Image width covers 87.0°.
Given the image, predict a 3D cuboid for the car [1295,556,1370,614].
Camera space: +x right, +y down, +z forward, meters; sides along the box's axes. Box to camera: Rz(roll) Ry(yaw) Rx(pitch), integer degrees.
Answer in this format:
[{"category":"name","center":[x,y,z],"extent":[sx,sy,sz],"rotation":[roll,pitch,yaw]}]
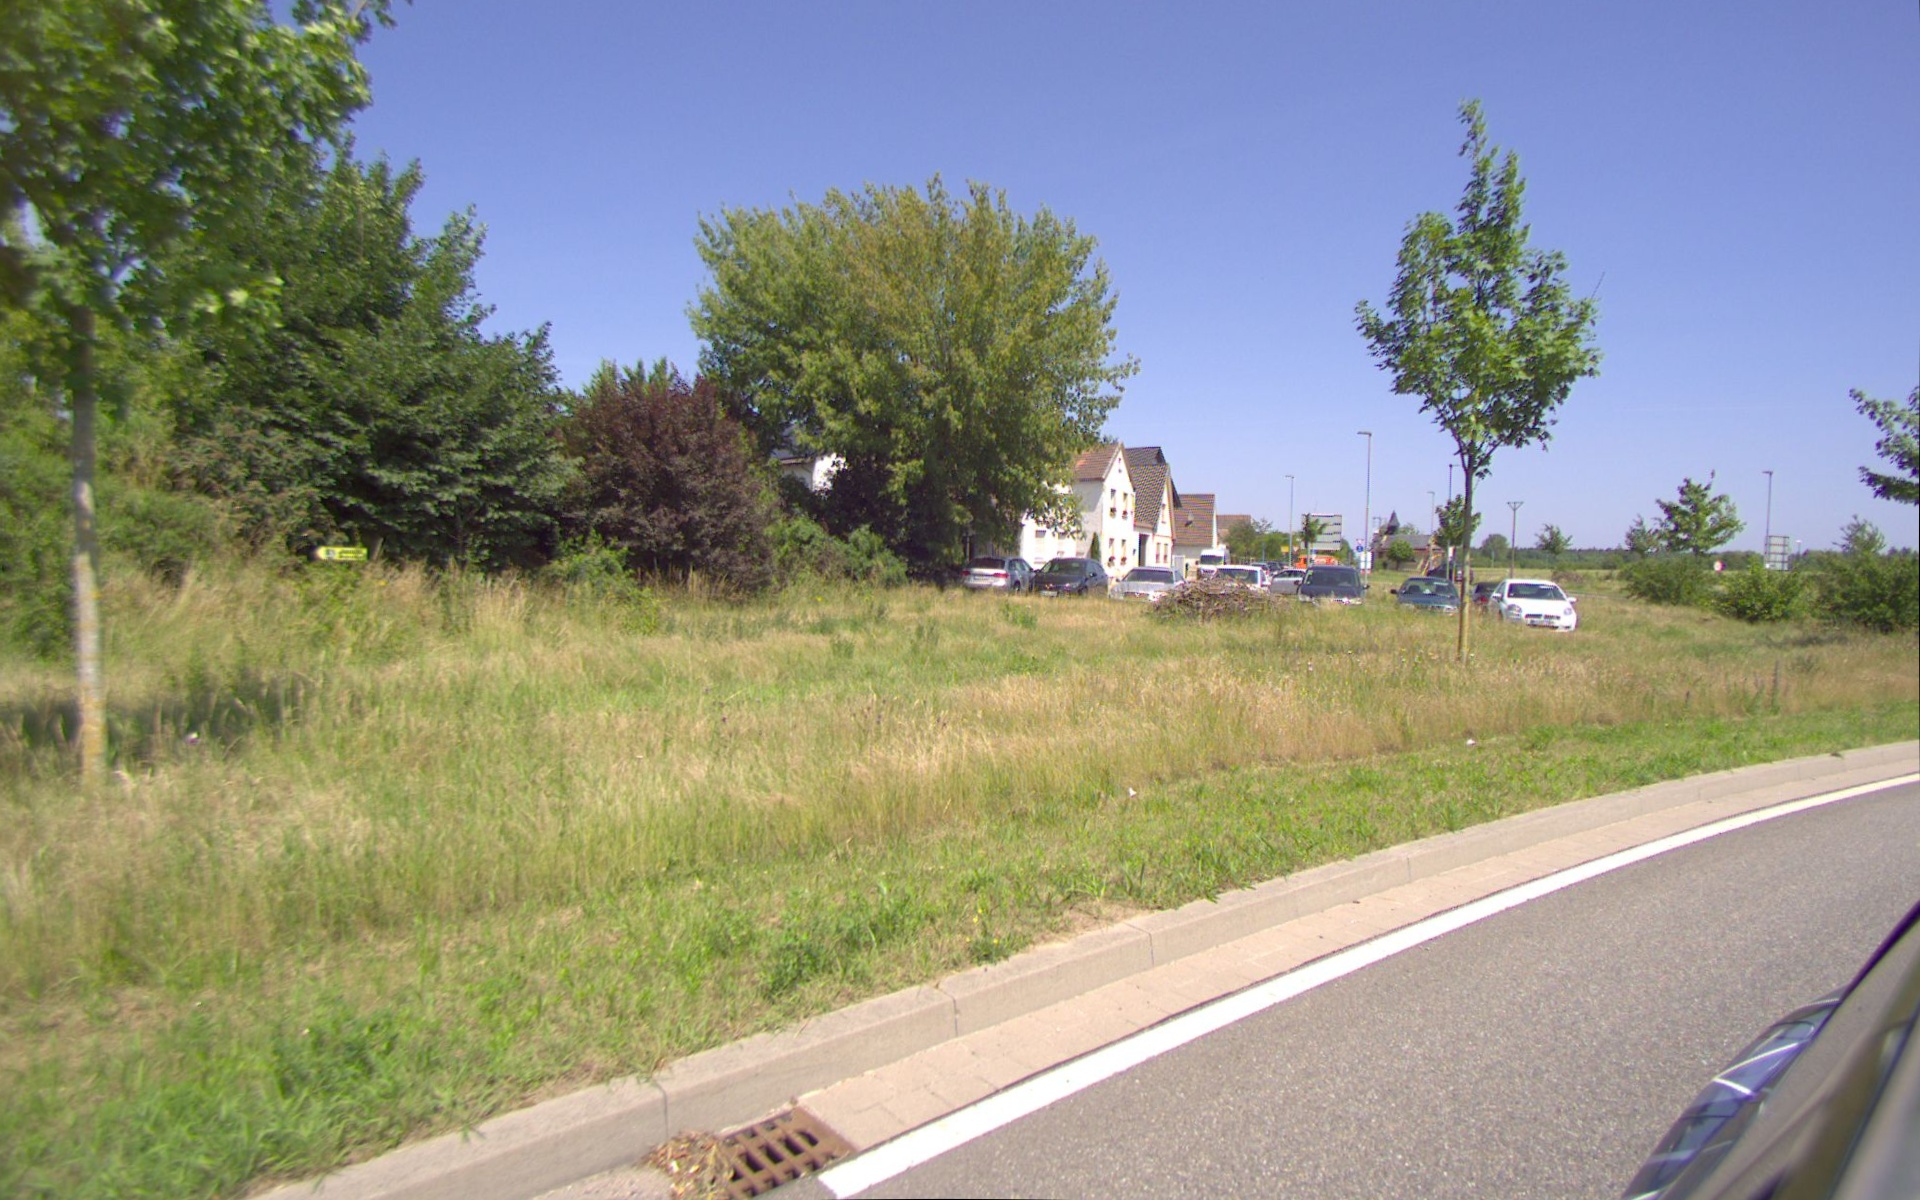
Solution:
[{"category":"car","center":[10.344,-0.416,27.969],"extent":[1.754,1.460,3.936],"rotation":[2,1,22]}]

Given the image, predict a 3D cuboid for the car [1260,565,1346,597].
[{"category":"car","center":[16.713,-0.963,49.496],"extent":[1.617,1.409,4.008],"rotation":[0,3,-26]}]

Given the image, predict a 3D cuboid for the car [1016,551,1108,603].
[{"category":"car","center":[3.198,-0.682,30.914],"extent":[1.753,1.460,3.937],"rotation":[2,1,22]}]

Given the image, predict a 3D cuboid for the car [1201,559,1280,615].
[{"category":"car","center":[8.240,-0.385,29.526],"extent":[1.754,1.460,3.936],"rotation":[2,1,22]}]

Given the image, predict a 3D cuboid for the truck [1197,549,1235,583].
[{"category":"truck","center":[20.112,-2.709,79.428],"extent":[2.210,2.536,5.599],"rotation":[2,3,21]}]

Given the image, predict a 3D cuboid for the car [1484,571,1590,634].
[{"category":"car","center":[15.060,-0.003,26.604],"extent":[1.726,1.445,3.974],"rotation":[2,3,20]}]

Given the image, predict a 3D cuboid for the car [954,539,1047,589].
[{"category":"car","center":[1.368,-1.118,32.418],"extent":[1.753,1.460,3.937],"rotation":[2,1,22]}]

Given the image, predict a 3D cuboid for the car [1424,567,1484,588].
[{"category":"car","center":[39.976,-1.828,82.033],"extent":[1.913,1.669,4.898],"rotation":[0,1,-9]}]

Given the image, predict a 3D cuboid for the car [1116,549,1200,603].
[{"category":"car","center":[5.933,-0.694,30.001],"extent":[1.753,1.460,3.938],"rotation":[2,1,21]}]

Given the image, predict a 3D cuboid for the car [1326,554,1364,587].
[{"category":"car","center":[22.432,-1.750,59.093],"extent":[1.831,1.852,3.977],"rotation":[2,3,19]}]

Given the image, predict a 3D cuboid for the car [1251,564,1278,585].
[{"category":"car","center":[23.706,-2.034,78.789],"extent":[1.831,1.514,3.977],"rotation":[2,3,19]}]

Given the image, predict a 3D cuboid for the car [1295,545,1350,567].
[{"category":"car","center":[46.253,-5.623,129.133],"extent":[6.099,2.615,2.327],"rotation":[3,3,35]}]

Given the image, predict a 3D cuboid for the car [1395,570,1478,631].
[{"category":"car","center":[12.600,-0.008,26.953],"extent":[1.754,1.460,3.936],"rotation":[2,1,22]}]

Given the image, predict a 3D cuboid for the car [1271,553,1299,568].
[{"category":"car","center":[36.993,-4.554,115.328],"extent":[1.863,1.636,4.002],"rotation":[1,2,0]}]

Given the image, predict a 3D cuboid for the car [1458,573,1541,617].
[{"category":"car","center":[18.942,-0.221,35.710],"extent":[1.723,1.327,3.982],"rotation":[2,3,16]}]

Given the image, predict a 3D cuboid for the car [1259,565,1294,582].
[{"category":"car","center":[27.764,-2.342,88.652],"extent":[1.844,1.367,3.719],"rotation":[3,3,36]}]
